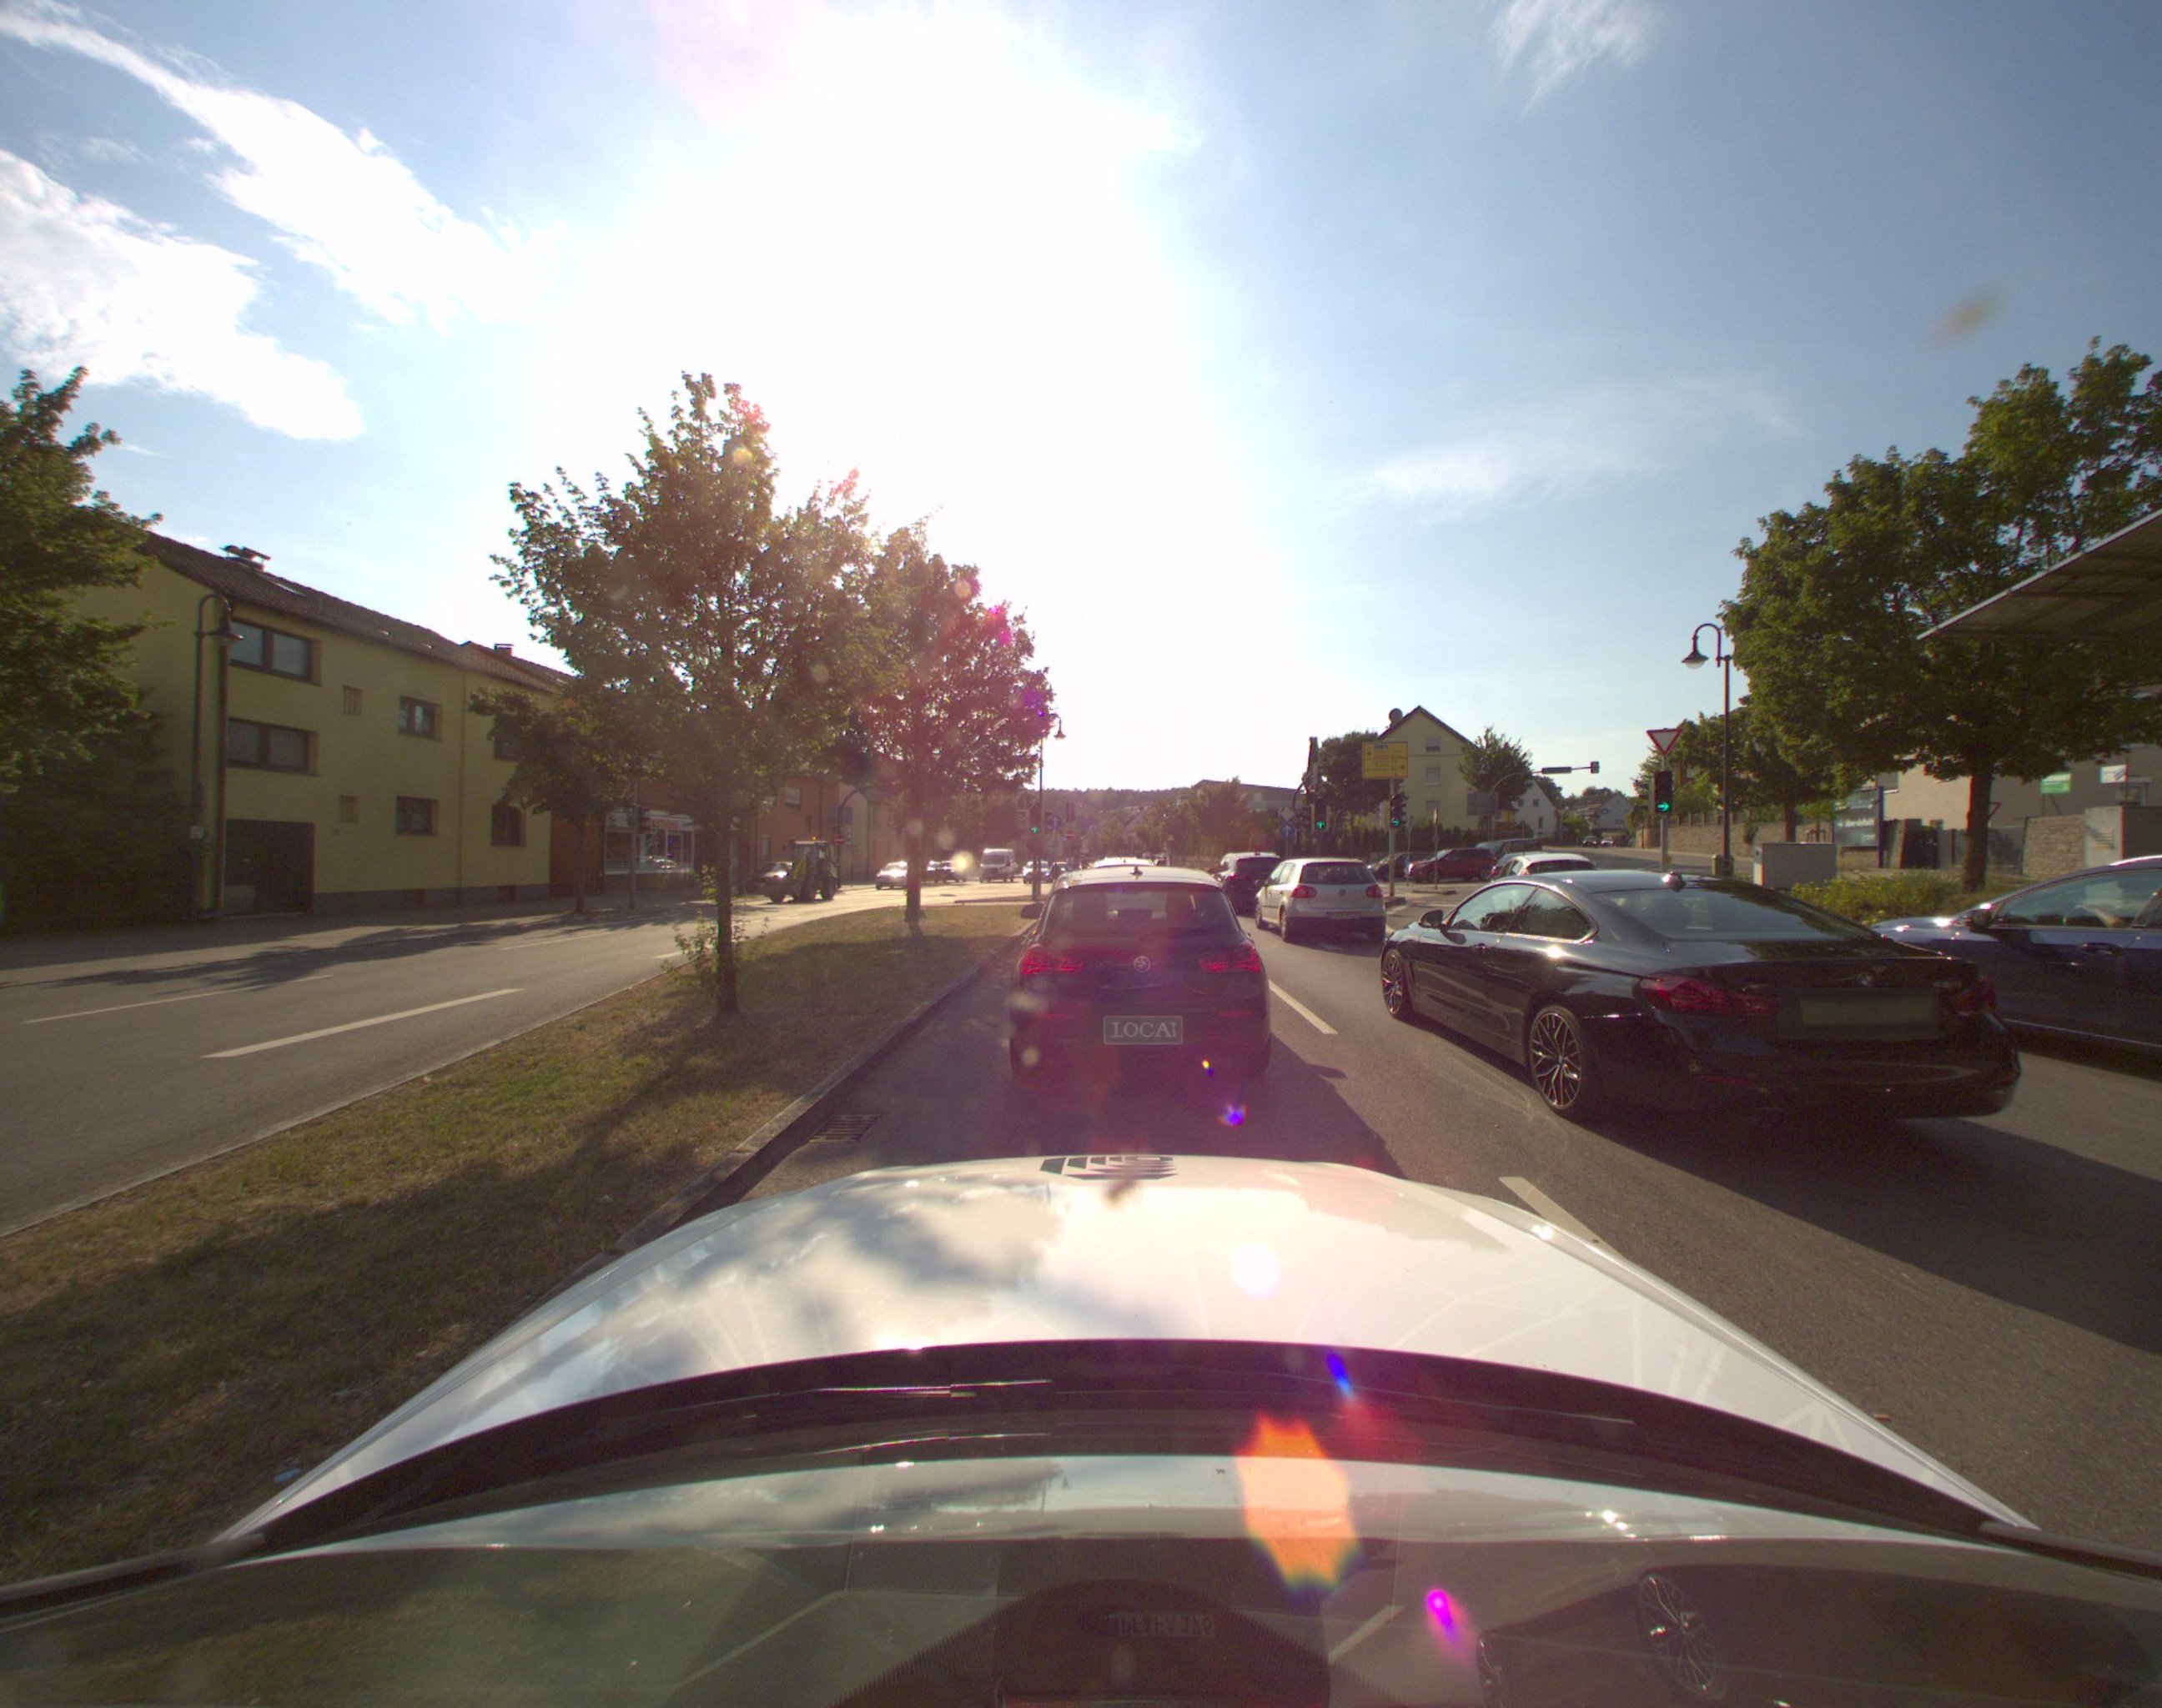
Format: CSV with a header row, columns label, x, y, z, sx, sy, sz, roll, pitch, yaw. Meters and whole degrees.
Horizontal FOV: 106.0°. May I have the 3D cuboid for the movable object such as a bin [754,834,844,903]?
label,x,y,z,sx,sy,sz,roll,pitch,yaw
movable object such as a bin,-10.758,0.544,31.437,1.729,2.442,4.452,-1,0,3

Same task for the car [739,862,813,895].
label,x,y,z,sx,sy,sz,roll,pitch,yaw
car,-14.129,1.124,37.989,1.730,1.301,4.002,4,0,2

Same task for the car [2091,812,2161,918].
label,x,y,z,sx,sy,sz,roll,pitch,yaw
car,18.501,0.162,12.340,3.793,1.632,1.784,0,0,10

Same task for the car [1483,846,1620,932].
label,x,y,z,sx,sy,sz,roll,pitch,yaw
car,9.356,0.640,16.452,1.605,1.542,3.331,-2,0,16

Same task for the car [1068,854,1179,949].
label,x,y,z,sx,sy,sz,roll,pitch,yaw
car,0.792,0.783,15.512,1.781,1.494,4.283,-2,0,2

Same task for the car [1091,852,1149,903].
label,x,y,z,sx,sy,sz,roll,pitch,yaw
car,1.347,0.754,28.129,1.781,1.594,4.283,-2,0,2

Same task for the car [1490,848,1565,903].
label,x,y,z,sx,sy,sz,roll,pitch,yaw
car,14.370,0.635,26.111,1.640,1.542,4.427,-2,0,34

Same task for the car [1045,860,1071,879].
label,x,y,z,sx,sy,sz,roll,pitch,yaw
car,-1.892,1.263,68.236,1.832,1.482,4.002,-1,0,2

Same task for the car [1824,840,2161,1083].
label,x,y,z,sx,sy,sz,roll,pitch,yaw
car,7.485,0.649,5.169,1.754,1.453,4.323,-2,0,4

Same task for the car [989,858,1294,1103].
label,x,y,z,sx,sy,sz,roll,pitch,yaw
car,0.453,0.770,7.010,1.781,1.397,4.283,-2,0,2

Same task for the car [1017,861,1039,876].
label,x,y,z,sx,sy,sz,roll,pitch,yaw
car,-5.427,1.491,83.744,1.831,1.482,4.003,-1,0,3

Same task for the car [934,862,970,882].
label,x,y,z,sx,sy,sz,roll,pitch,yaw
car,-9.652,1.337,61.215,1.729,1.301,3.804,4,0,5

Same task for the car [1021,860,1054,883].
label,x,y,z,sx,sy,sz,roll,pitch,yaw
car,-2.941,1.176,55.693,1.832,1.482,4.002,-1,0,2

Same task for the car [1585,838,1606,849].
label,x,y,z,sx,sy,sz,roll,pitch,yaw
car,76.645,-1.559,121.249,1.946,1.680,4.241,-2,-1,41

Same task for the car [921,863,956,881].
label,x,y,z,sx,sy,sz,roll,pitch,yaw
car,-11.744,1.450,67.439,1.728,1.301,4.006,4,0,6

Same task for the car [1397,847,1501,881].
label,x,y,z,sx,sy,sz,roll,pitch,yaw
car,18.359,0.476,40.692,4.410,1.641,1.845,0,0,-6

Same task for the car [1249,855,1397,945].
label,x,y,z,sx,sy,sz,roll,pitch,yaw
car,4.407,0.770,15.449,1.755,1.426,3.905,-2,0,2

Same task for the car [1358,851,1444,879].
label,x,y,z,sx,sy,sz,roll,pitch,yaw
car,17.355,0.590,44.315,3.974,1.489,1.848,0,0,-1

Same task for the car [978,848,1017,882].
label,x,y,z,sx,sy,sz,roll,pitch,yaw
car,-6.104,0.829,60.383,2.076,2.394,5.532,0,-1,3

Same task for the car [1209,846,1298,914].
label,x,y,z,sx,sy,sz,roll,pitch,yaw
car,4.696,0.658,22.628,1.755,1.656,3.905,-2,0,2

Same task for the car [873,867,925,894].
label,x,y,z,sx,sy,sz,roll,pitch,yaw
car,-10.181,1.472,45.798,1.729,1.301,3.804,4,0,5

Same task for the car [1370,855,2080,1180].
label,x,y,z,sx,sy,sz,roll,pitch,yaw
car,3.627,0.737,5.778,1.755,1.397,4.283,-2,0,2

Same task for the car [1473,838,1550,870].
label,x,y,z,sx,sy,sz,roll,pitch,yaw
car,24.593,-0.020,46.485,4.803,1.739,1.829,0,0,-34
